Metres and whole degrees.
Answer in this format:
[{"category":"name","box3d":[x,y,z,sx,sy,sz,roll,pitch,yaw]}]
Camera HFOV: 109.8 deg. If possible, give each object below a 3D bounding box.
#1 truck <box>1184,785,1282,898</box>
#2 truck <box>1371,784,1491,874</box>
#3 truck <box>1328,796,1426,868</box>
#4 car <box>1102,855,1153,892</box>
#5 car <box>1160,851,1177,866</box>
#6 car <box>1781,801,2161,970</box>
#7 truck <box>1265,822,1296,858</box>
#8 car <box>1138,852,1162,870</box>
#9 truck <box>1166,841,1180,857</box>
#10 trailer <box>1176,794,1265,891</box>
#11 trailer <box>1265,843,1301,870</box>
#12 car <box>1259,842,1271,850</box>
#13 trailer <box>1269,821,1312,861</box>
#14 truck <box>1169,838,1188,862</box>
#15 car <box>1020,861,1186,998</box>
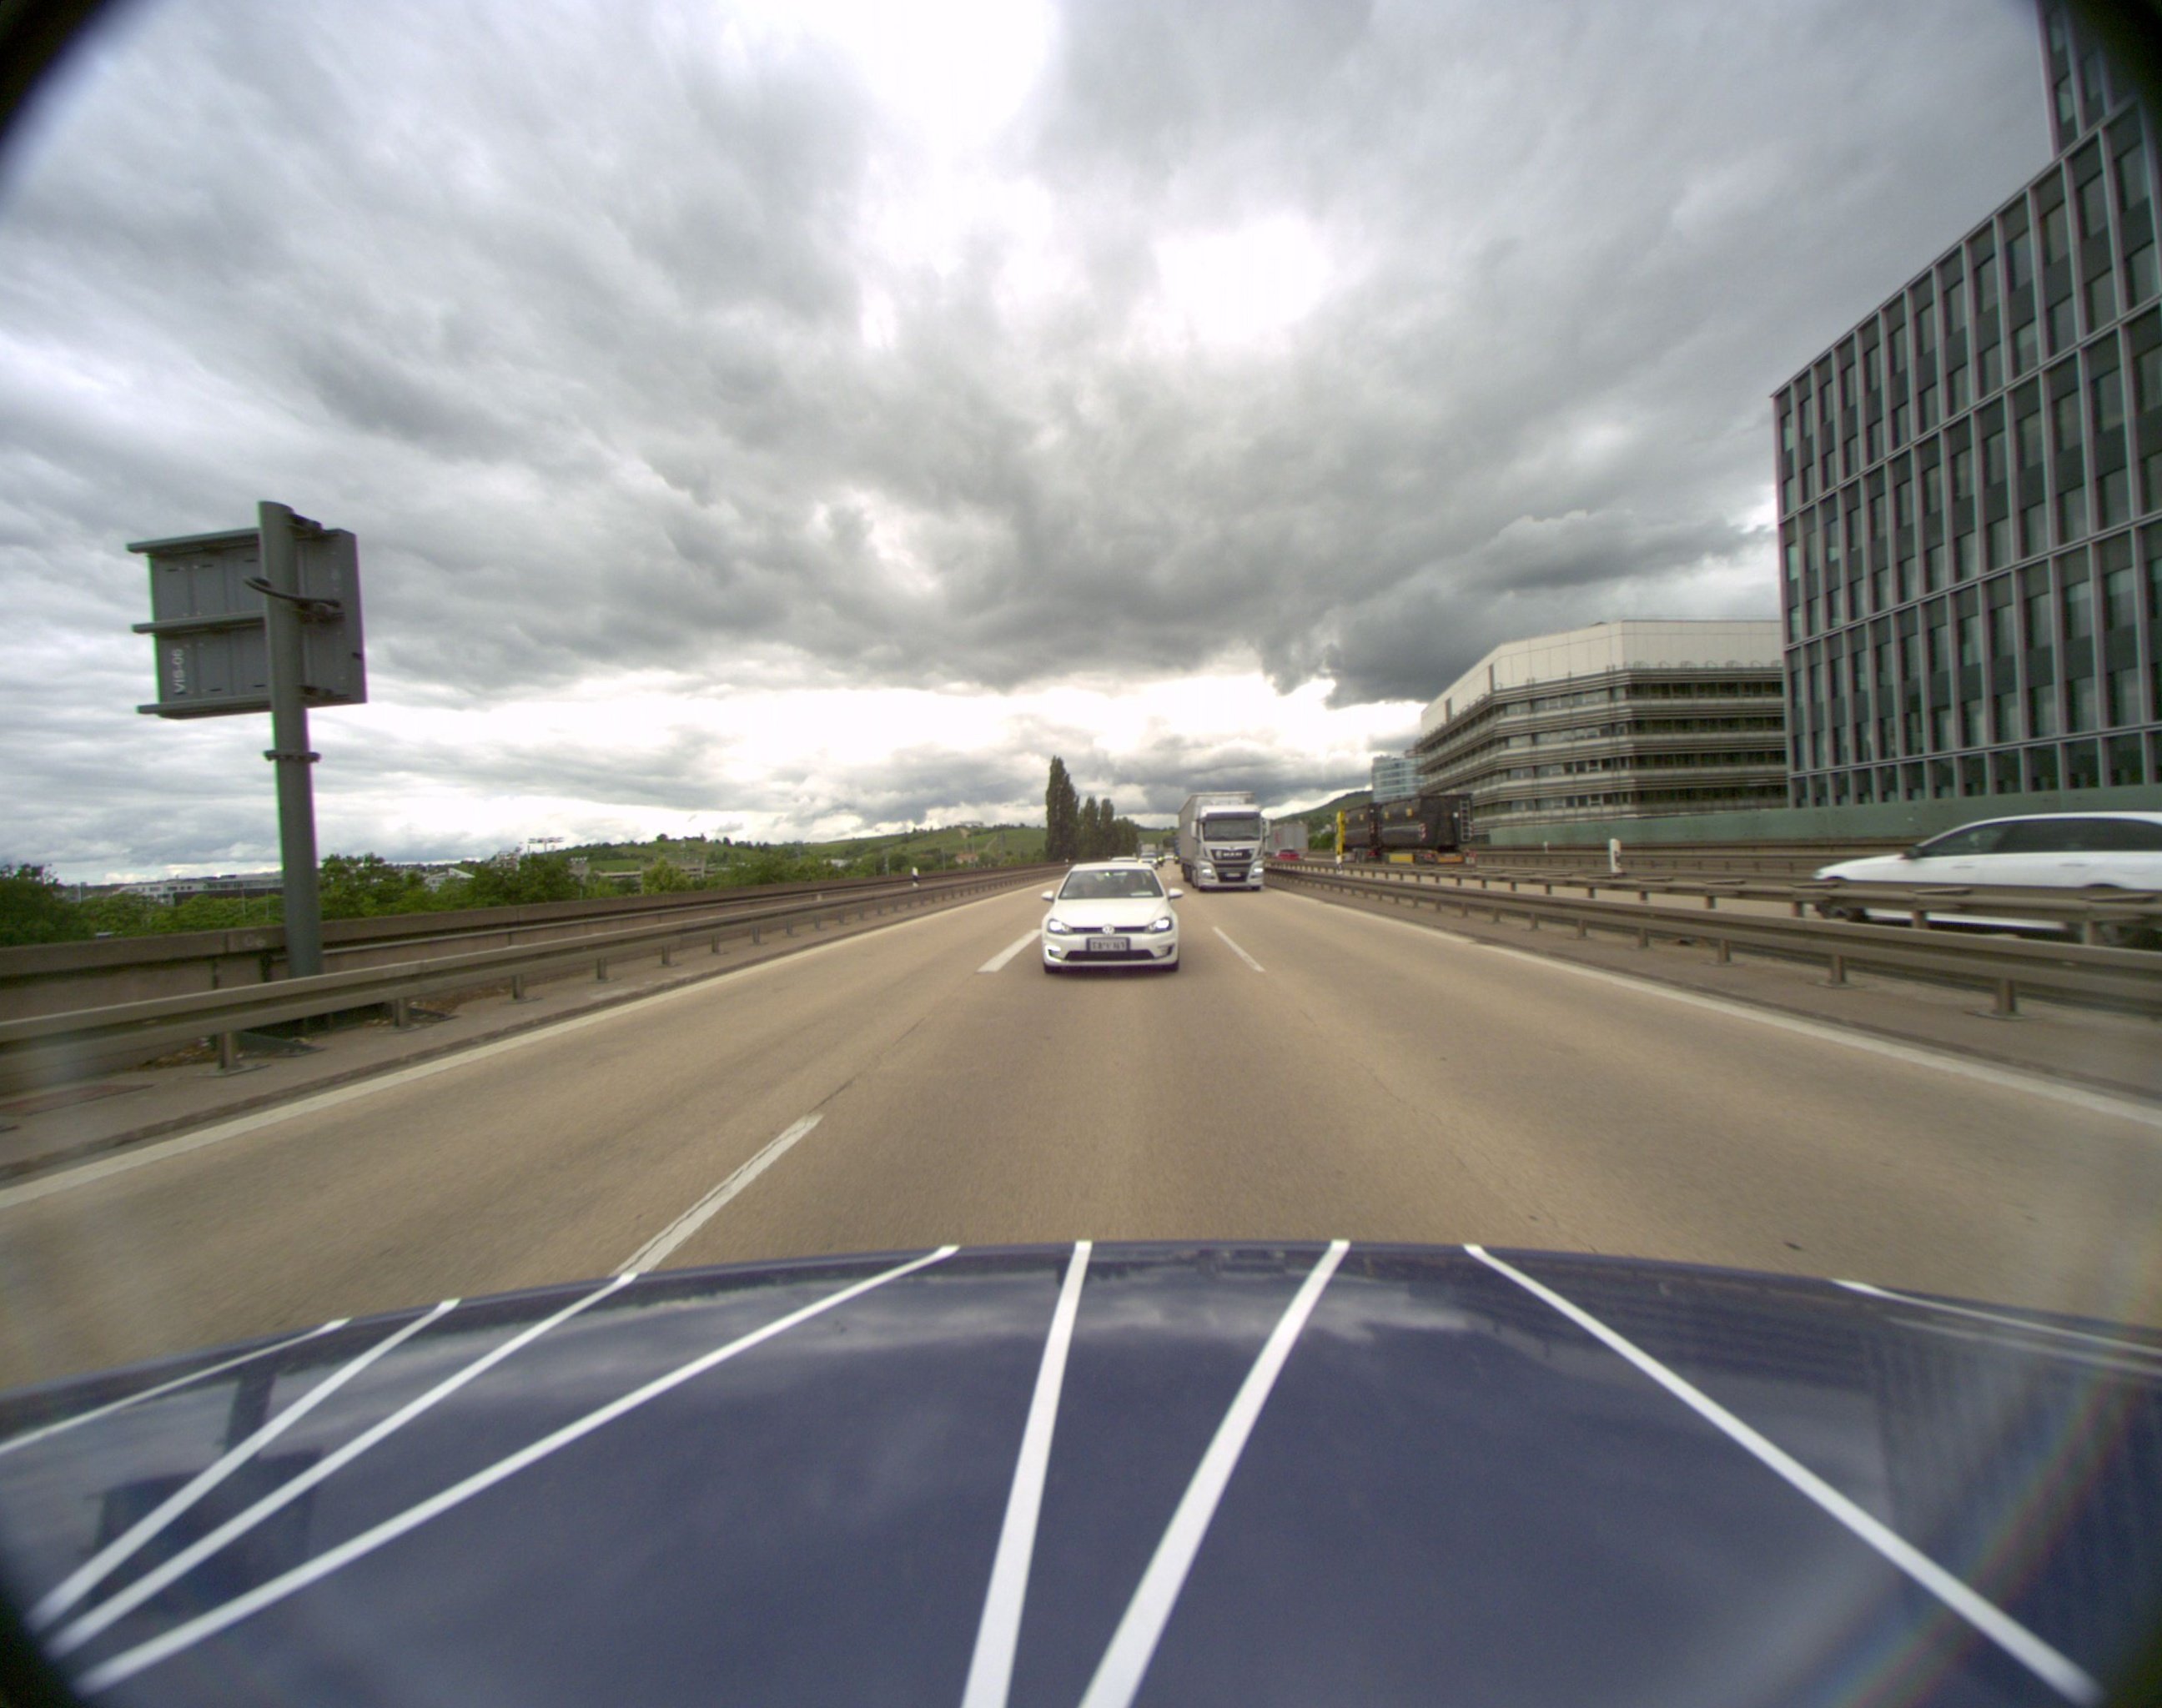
[{"category":"truck","box3d":[6.029,-0.475,31.038,3.141,4.014,5.690,-3,1,5]},{"category":"truck","box3d":[17.792,-1.217,39.390,3.063,4.042,8.666,-2,1,6]},{"category":"truck","box3d":[19.001,-1.330,49.755,3.063,4.042,11.861,-2,1,7]},{"category":"car","box3d":[2.289,0.901,36.126,1.929,1.499,4.064,-3,1,10]},{"category":"car","box3d":[10.333,0.547,89.618,1.930,1.585,4.062,-3,1,6]},{"category":"car","box3d":[11.263,0.250,8.786,1.998,1.597,4.807,-2,1,2]},{"category":"truck","box3d":[23.704,-1.691,90.364,2.777,4.055,5.649,-2,1,7]},{"category":"car","box3d":[6.770,0.662,74.345,1.929,1.585,4.064,-3,1,10]},{"category":"truck","box3d":[18.645,-1.083,154.206,2.335,3.219,6.690,-2,1,10]},{"category":"trailer","box3d":[6.761,-0.543,38.689,3.188,4.003,11.768,-3,0,5]},{"category":"trailer","box3d":[15.968,0.185,60.198,1.998,2.002,4.001,-2,0,4]},{"category":"car","box3d":[37.228,-1.627,153.944,1.686,1.641,4.361,-3,1,5]},{"category":"trailer","box3d":[22.769,-1.493,83.065,2.850,3.965,11.889,-2,1,8]},{"category":"truck","box3d":[13.884,-0.567,107.854,2.335,3.219,6.690,-2,1,10]},{"category":"car","box3d":[0.531,0.937,11.090,1.929,1.499,4.063,-2,1,8]}]
